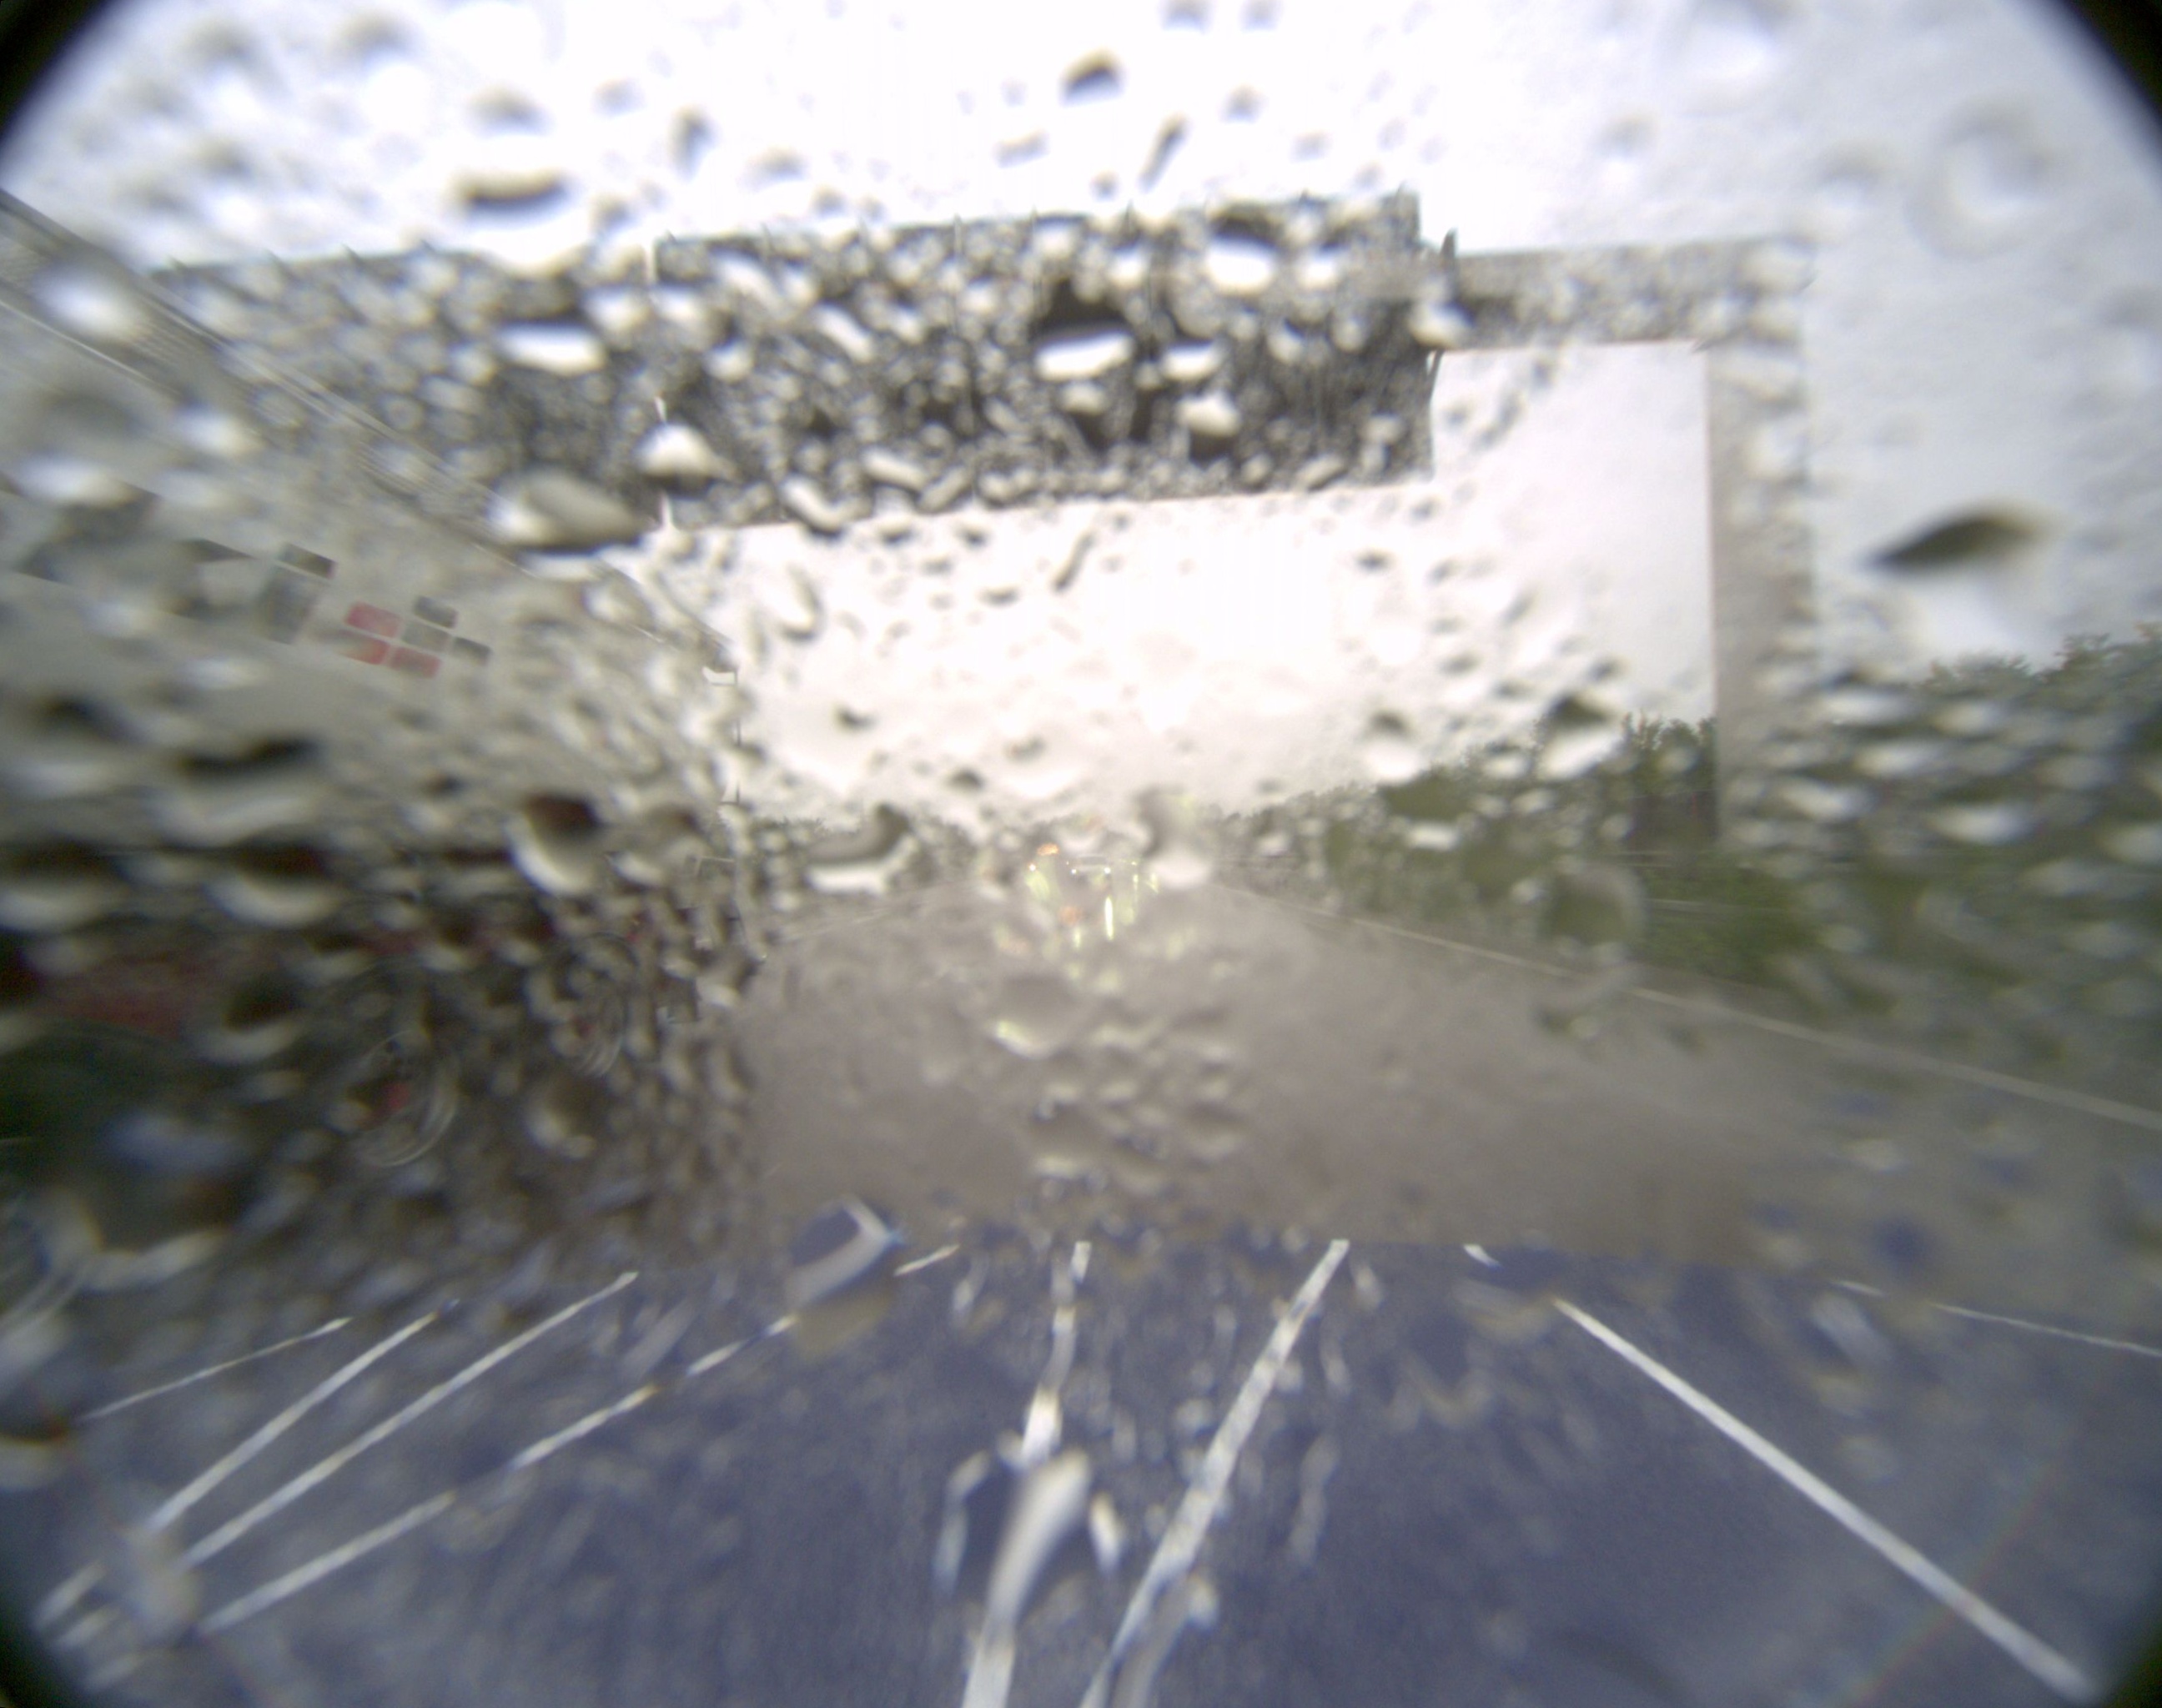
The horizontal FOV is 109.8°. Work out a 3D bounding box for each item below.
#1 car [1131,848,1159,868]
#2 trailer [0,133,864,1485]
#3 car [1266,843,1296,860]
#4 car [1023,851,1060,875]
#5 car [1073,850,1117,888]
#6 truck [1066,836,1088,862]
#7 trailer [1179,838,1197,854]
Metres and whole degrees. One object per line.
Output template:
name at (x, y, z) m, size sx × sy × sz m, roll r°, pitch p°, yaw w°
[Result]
car at (5.253, 0.306, 63.035) m, size 1.900 × 1.533 × 4.090 m, roll -2°, pitch 0°, yaw 0°
trailer at (-4.492, -0.102, 3.891) m, size 3.196 × 3.648 × 11.666 m, roll -2°, pitch 0°, yaw 0°
car at (18.131, -0.220, 69.111) m, size 1.752 × 1.375 × 3.741 m, roll -2°, pitch 0°, yaw 1°
car at (-3.136, 0.682, 61.494) m, size 2.463 × 1.736 × 5.720 m, roll -2°, pitch 0°, yaw 2°
car at (0.687, 0.636, 34.720) m, size 1.751 × 1.545 × 4.091 m, roll -2°, pitch 0°, yaw 4°
truck at (-0.593, -0.837, 123.464) m, size 2.754 × 4.055 × 6.485 m, roll -2°, pitch 0°, yaw 6°
trailer at (31.709, -2.307, 225.962) m, size 3.878 × 4.668 × 12.244 m, roll -2°, pitch 0°, yaw 2°
